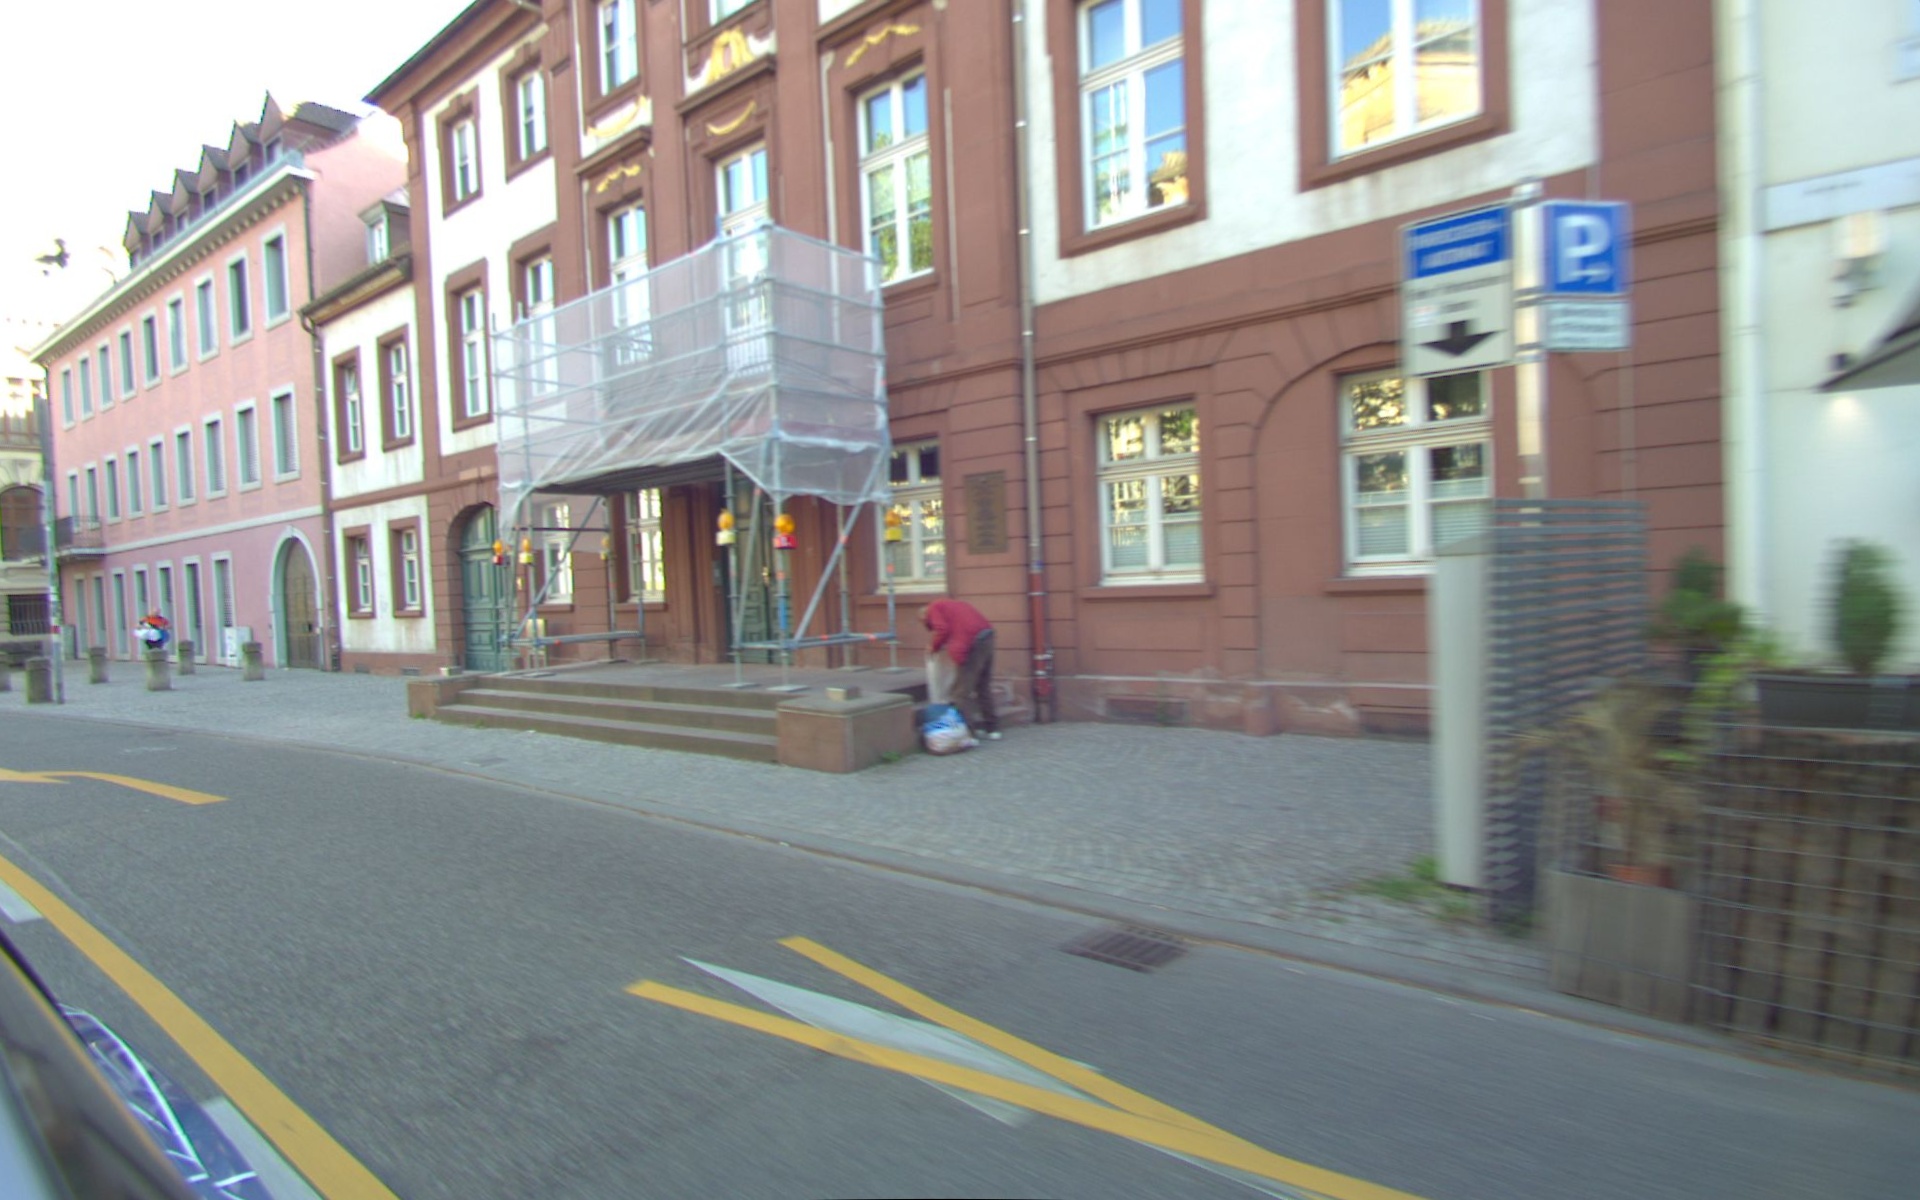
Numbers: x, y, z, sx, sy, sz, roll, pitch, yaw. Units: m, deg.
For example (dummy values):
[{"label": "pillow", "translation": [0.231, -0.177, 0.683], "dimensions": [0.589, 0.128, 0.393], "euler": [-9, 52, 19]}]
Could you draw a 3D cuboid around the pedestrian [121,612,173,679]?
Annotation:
[{"label": "pedestrian", "translation": [-21.553, 1.199, 26.839], "dimensions": [0.867, 1.701, 0.784], "euler": [-2, 2, 37]}]

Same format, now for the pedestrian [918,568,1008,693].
[{"label": "pedestrian", "translation": [0.028, 0.264, 9.058], "dimensions": [0.550, 1.060, 0.532], "euler": [-2, 2, 36]}]
